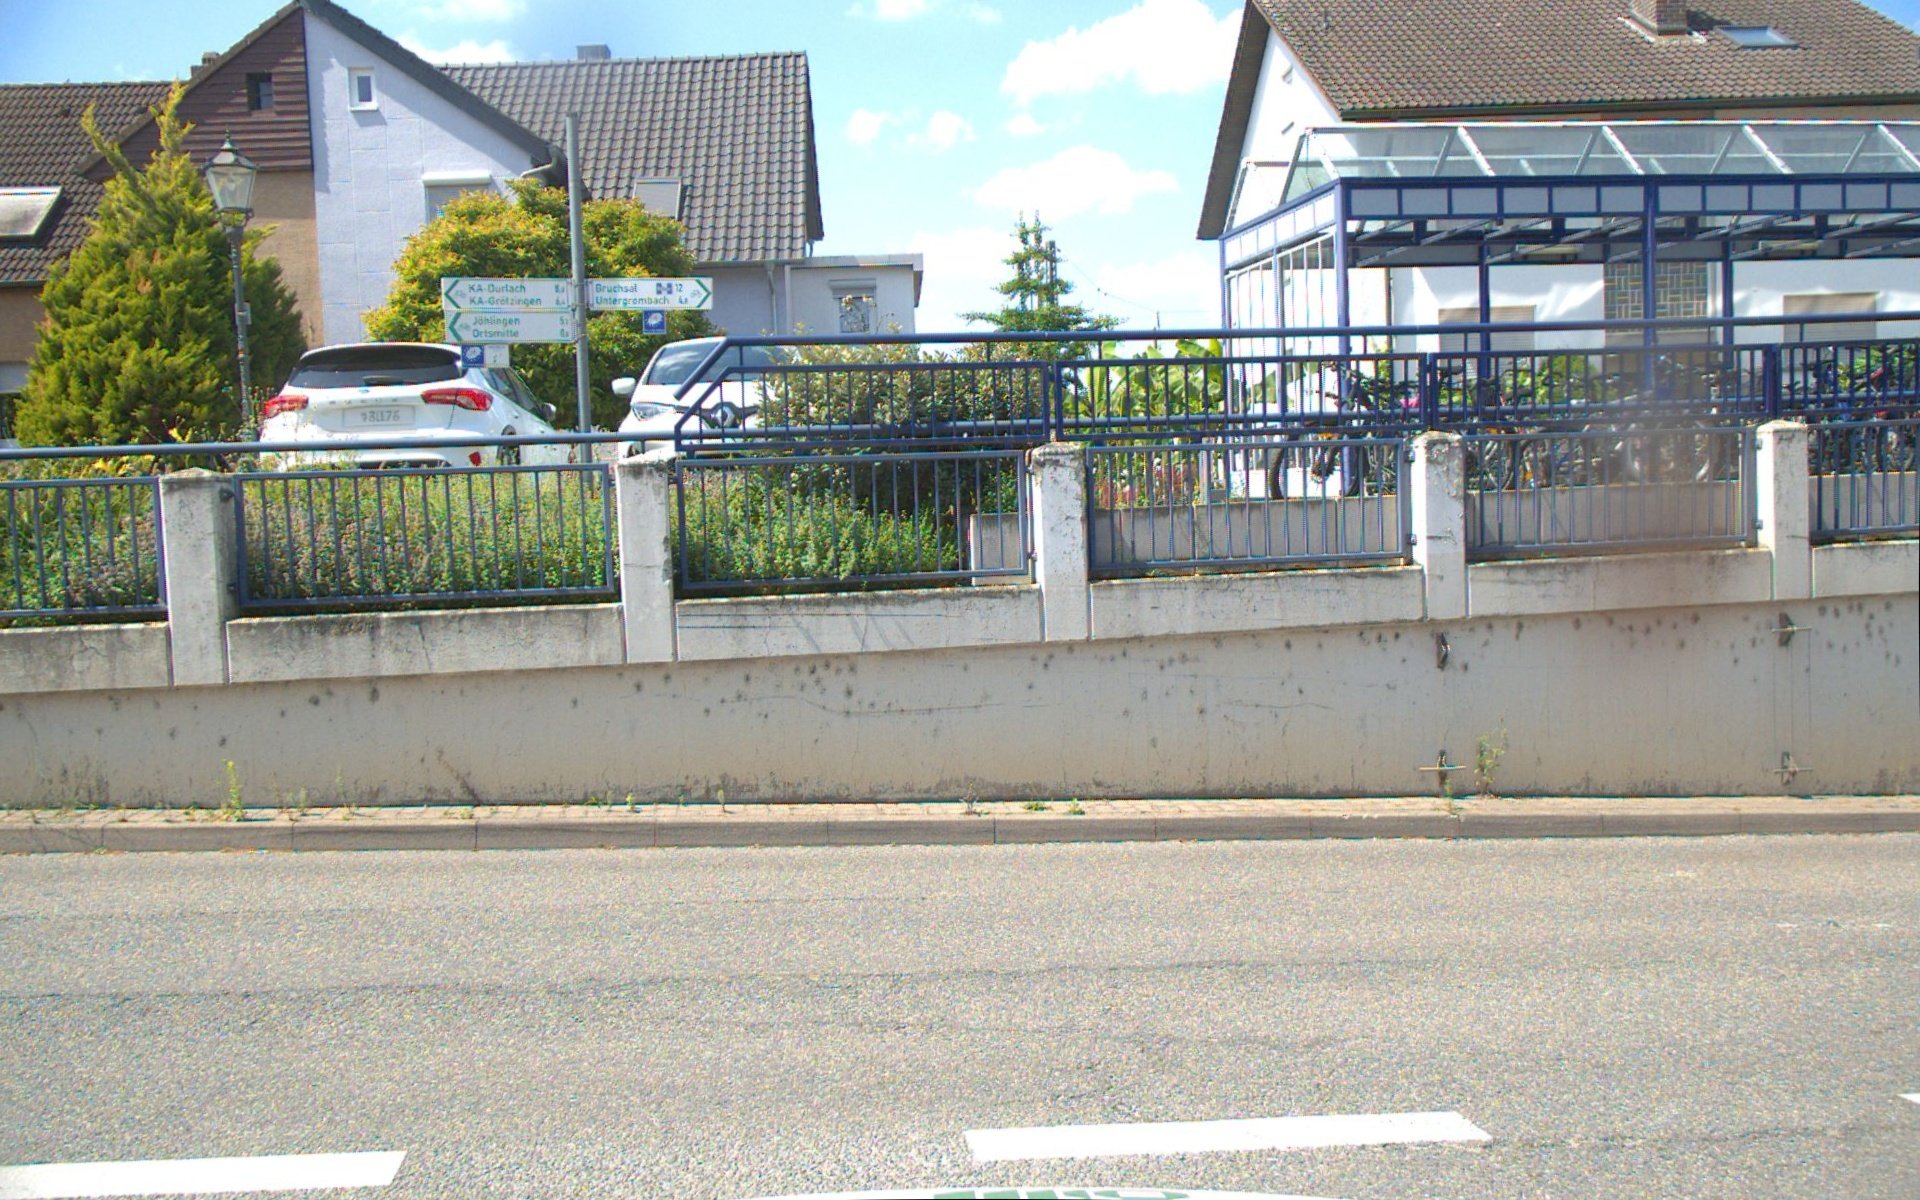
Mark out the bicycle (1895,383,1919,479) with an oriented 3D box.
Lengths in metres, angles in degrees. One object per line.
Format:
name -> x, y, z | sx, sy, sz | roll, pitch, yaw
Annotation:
bicycle -> 10.523, -1.772, 16.962 | 0.509, 1.012, 1.962 | -2, 3, -9

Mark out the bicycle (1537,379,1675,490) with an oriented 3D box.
bicycle -> 6.420, -1.622, 16.533 | 0.418, 1.012, 1.964 | -2, 3, -6

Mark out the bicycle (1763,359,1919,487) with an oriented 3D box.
bicycle -> 7.959, -1.516, 14.467 | 0.522, 1.012, 2.278 | -2, 3, -7

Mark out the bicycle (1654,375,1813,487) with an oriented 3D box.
bicycle -> 7.724, -1.665, 16.599 | 0.406, 1.012, 1.962 | -2, 3, -9

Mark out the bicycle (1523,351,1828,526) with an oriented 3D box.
bicycle -> 4.939, -1.114, 11.409 | 2.077, 1.145, 0.391 | -2, 3, -11

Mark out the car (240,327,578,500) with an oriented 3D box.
car -> -4.303, -1.425, 13.476 | 1.789, 1.037, 3.457 | 1, 1, -4

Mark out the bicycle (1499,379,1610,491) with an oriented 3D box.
bicycle -> 5.821, -1.589, 16.286 | 0.365, 1.012, 1.966 | -2, 3, 0

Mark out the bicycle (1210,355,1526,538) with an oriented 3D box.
bicycle -> 2.716, -1.022, 10.978 | 2.077, 1.145, 0.332 | -2, 3, -11

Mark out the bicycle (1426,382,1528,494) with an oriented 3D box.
bicycle -> 5.086, -1.571, 16.371 | 0.365, 1.012, 1.966 | -2, 3, 0

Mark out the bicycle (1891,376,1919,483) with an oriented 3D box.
bicycle -> 9.511, -1.602, 15.150 | 0.522, 1.012, 2.185 | -2, 3, -7

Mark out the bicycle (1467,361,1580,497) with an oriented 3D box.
bicycle -> 4.615, -1.366, 13.646 | 0.426, 1.012, 2.104 | -1, 3, 6

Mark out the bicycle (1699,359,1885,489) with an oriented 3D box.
bicycle -> 7.203, -1.491, 14.440 | 0.426, 1.012, 2.281 | -2, 3, -1

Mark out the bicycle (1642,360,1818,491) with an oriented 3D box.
bicycle -> 6.634, -1.470, 14.376 | 0.426, 1.012, 2.281 | -2, 3, -1

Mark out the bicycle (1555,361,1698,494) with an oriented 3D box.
bicycle -> 5.586, -1.415, 13.969 | 0.426, 1.012, 2.103 | -1, 3, 2

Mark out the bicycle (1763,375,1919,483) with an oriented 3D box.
bicycle -> 9.045, -1.727, 16.978 | 0.509, 1.012, 1.798 | -2, 3, -9

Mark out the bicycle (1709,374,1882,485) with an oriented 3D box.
bicycle -> 8.412, -1.695, 16.745 | 0.509, 1.012, 1.962 | -2, 3, -9

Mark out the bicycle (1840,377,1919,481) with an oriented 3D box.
bicycle -> 9.823, -1.739, 16.766 | 0.509, 1.012, 1.962 | -2, 3, -9

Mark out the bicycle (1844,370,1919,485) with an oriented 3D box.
bicycle -> 8.876, -1.564, 14.815 | 0.522, 1.012, 2.185 | -2, 3, -7

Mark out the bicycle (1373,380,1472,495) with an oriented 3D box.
bicycle -> 4.406, -1.522, 15.863 | 0.365, 1.012, 1.966 | -2, 3, 0

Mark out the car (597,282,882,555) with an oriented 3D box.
car -> -1.689, -1.325, 13.712 | 1.954, 1.828, 4.193 | 1, 1, -4

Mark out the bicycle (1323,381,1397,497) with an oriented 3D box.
bicycle -> 3.753, -1.488, 15.621 | 0.445, 1.012, 1.890 | -1, 3, 7

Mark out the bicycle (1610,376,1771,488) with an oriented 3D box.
bicycle -> 7.260, -1.647, 16.534 | 0.465, 1.012, 1.962 | -2, 3, -9

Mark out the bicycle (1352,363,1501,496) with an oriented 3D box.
bicycle -> 3.900, -1.398, 13.979 | 0.326, 1.012, 2.071 | -2, 3, -10
